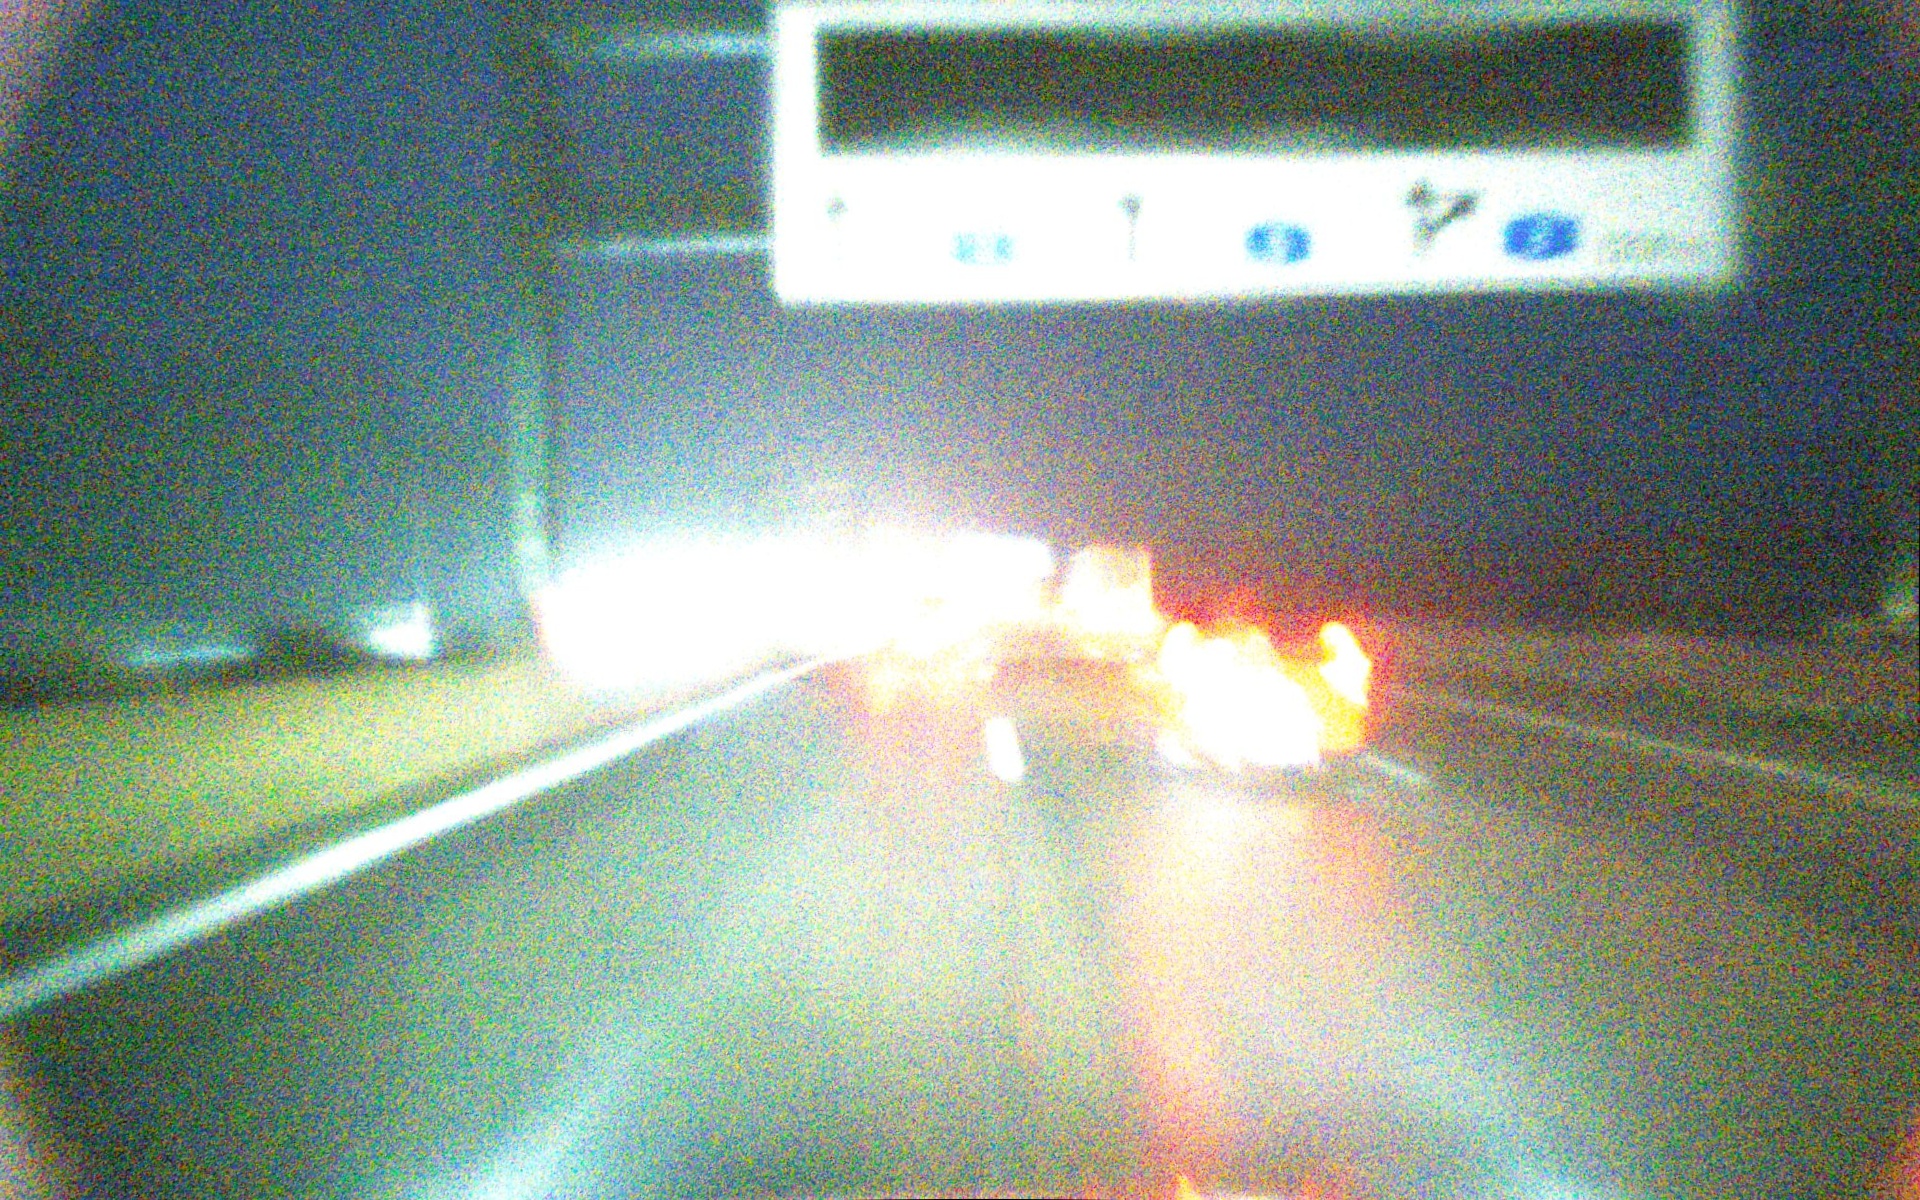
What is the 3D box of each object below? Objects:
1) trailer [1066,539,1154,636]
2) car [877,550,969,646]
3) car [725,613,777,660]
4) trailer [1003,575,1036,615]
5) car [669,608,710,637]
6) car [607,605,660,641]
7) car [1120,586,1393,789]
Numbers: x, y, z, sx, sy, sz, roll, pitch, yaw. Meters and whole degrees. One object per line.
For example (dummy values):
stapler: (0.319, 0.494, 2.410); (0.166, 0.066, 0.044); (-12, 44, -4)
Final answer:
trailer: (7.063, -0.453, 79.933); (2.844, 4.181, 14.485); (-1, -1, 0)
car: (-0.829, -0.087, 37.826); (1.953, 2.049, 3.999); (1, 1, -1)
car: (-10.119, 1.739, 80.486); (1.953, 2.048, 4.295); (1, 2, 0)
trailer: (6.988, -0.513, 195.656); (2.979, 4.181, 13.823); (-2, -1, -1)
car: (-17.415, 1.450, 106.765); (1.953, 1.805, 4.957); (0, -1, -2)
car: (-17.168, 1.218, 87.207); (1.953, 1.805, 4.957); (-1, 0, -2)
car: (2.558, 0.735, 15.307); (1.705, 1.603, 4.493); (0, -1, 0)
